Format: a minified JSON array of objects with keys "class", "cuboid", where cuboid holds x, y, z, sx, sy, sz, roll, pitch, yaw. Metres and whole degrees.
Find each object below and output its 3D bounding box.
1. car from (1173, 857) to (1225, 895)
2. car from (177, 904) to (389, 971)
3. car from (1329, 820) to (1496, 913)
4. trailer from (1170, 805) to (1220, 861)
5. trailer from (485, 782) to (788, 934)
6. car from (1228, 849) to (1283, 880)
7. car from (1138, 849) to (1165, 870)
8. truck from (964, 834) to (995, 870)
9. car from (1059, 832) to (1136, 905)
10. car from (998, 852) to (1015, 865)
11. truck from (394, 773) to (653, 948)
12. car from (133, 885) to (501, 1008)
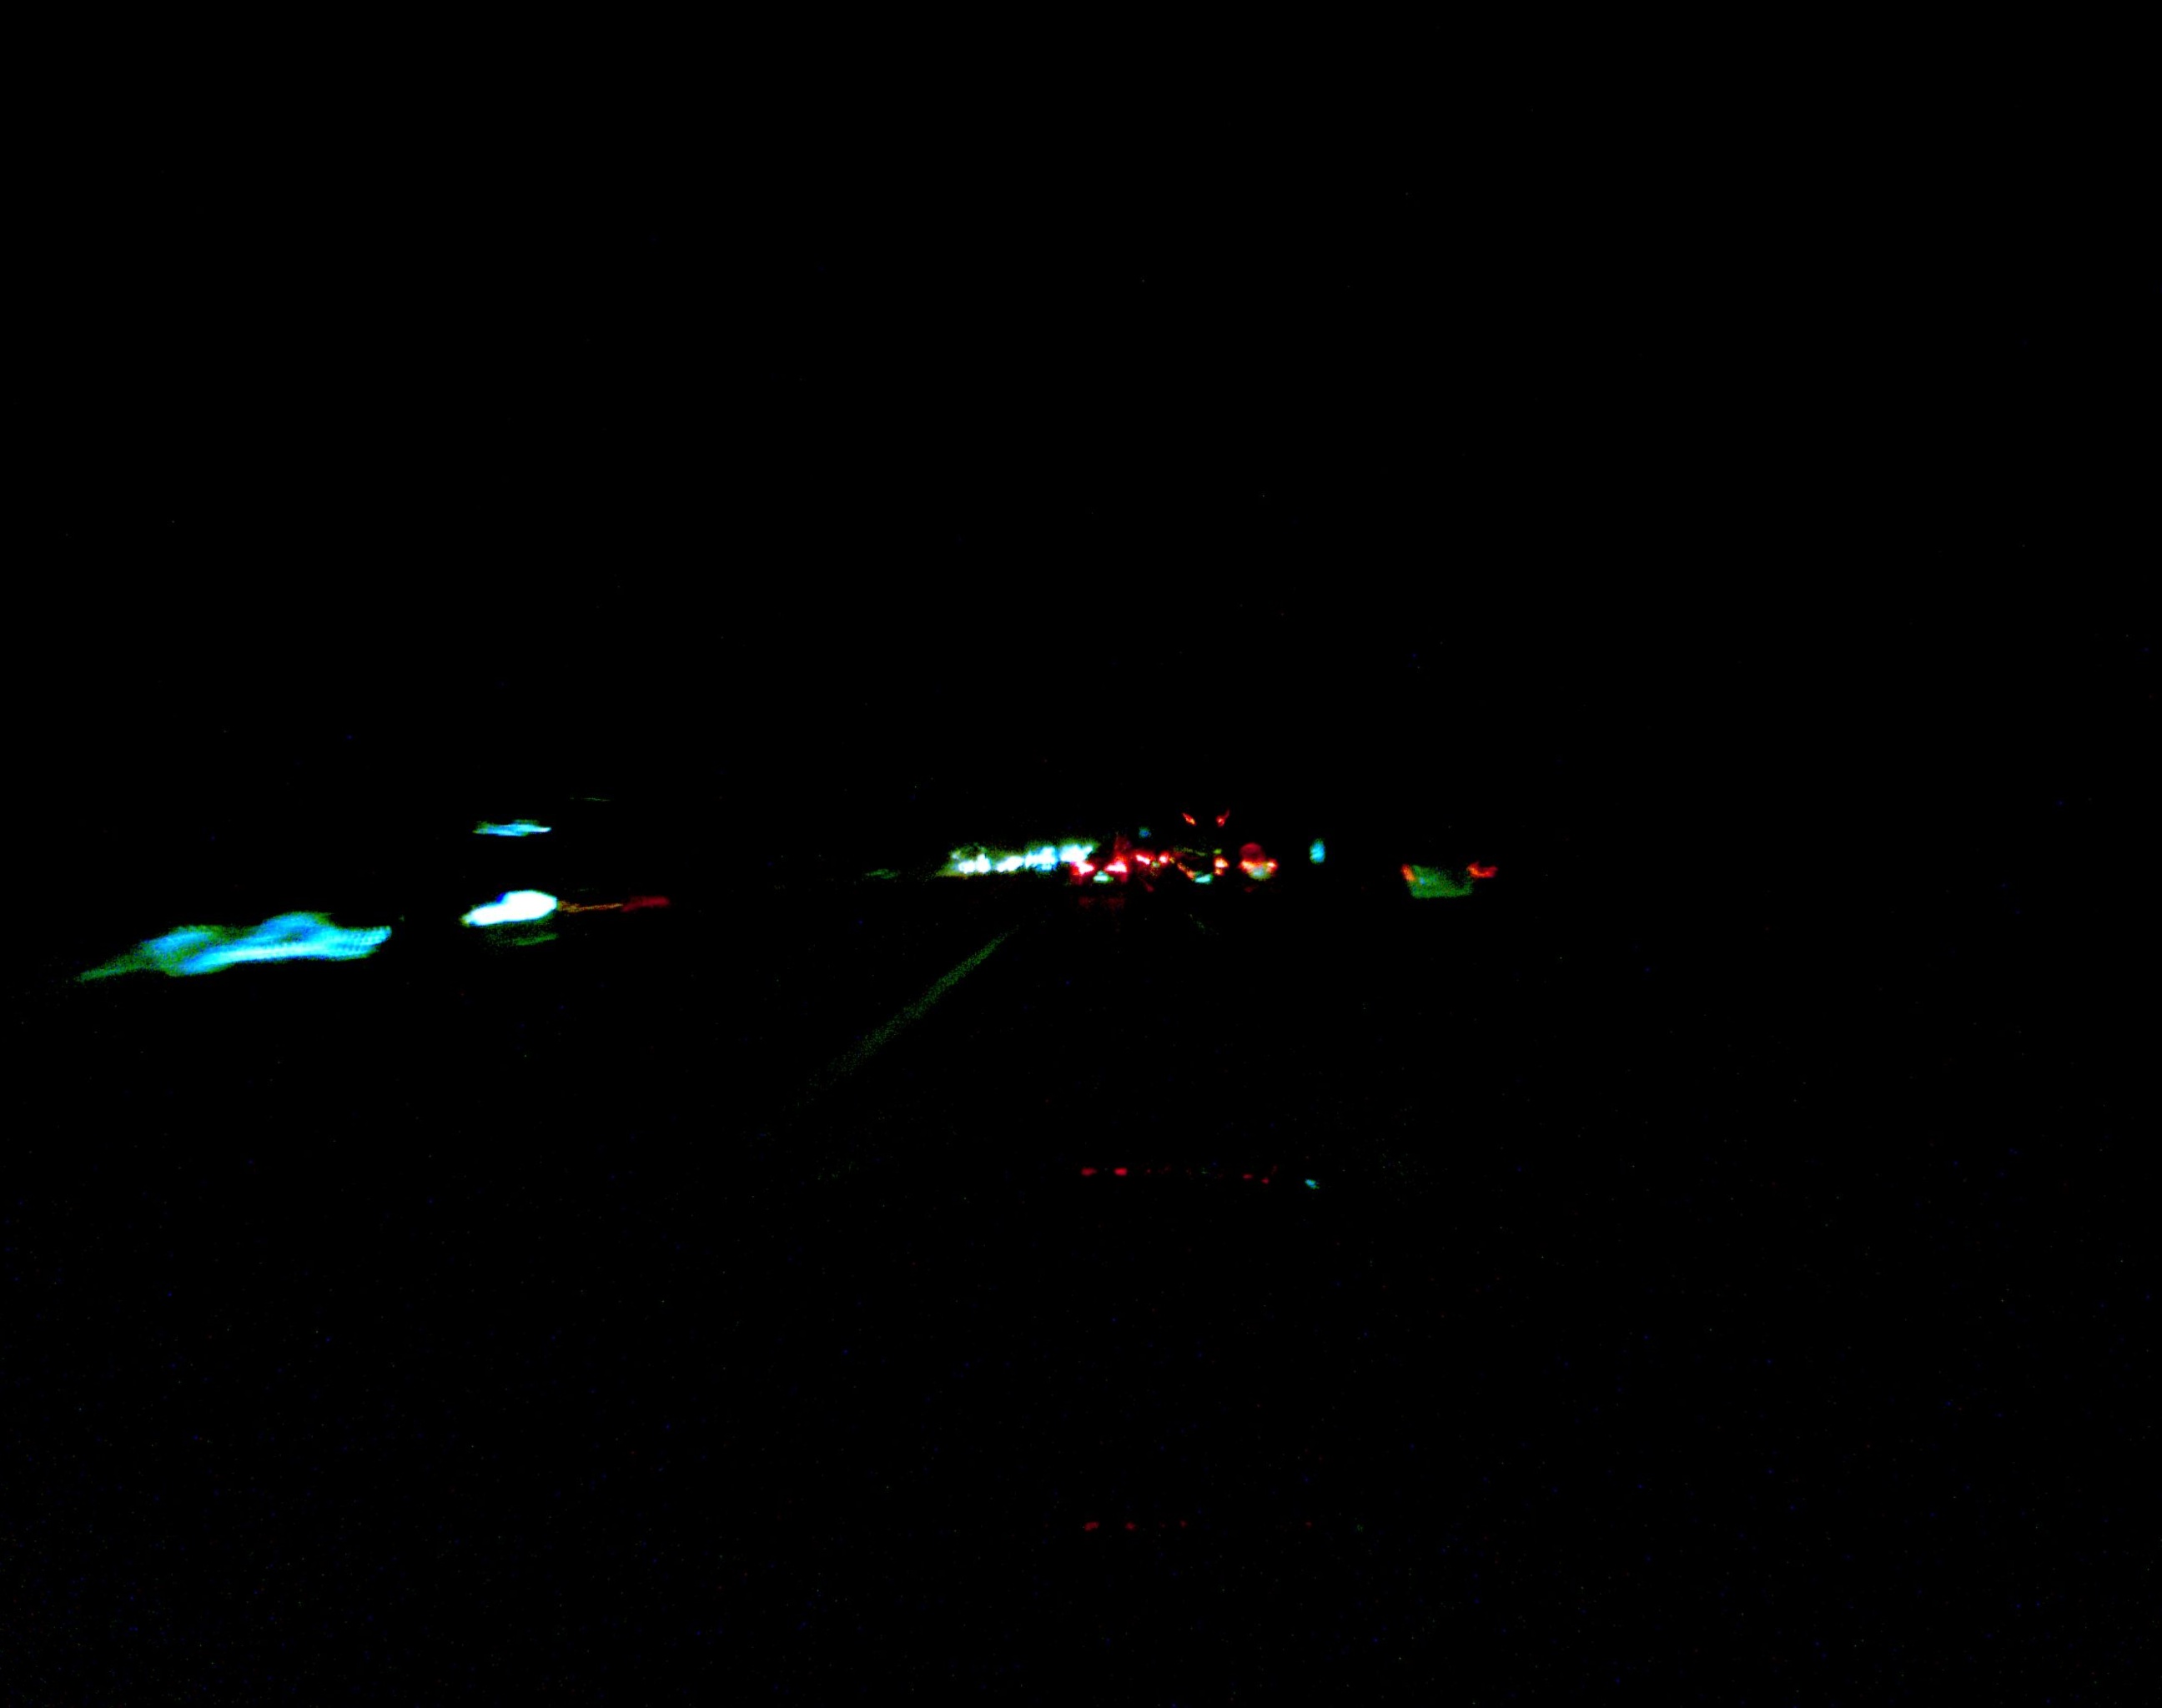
[{"class":"car","cuboid":[4.766,0.851,33.332,1.607,1.412,3.792,-1,0,1]},{"class":"car","cuboid":[-19.863,2.023,20.513,1.604,1.230,3.683,-3,0,2]},{"class":"car","cuboid":[8.261,0.253,20.956,2.039,1.974,5.407,-3,0,0]},{"class":"trailer","cuboid":[9.253,-1.584,67.561,2.793,4.212,12.101,-1,0,2]},{"class":"trailer","cuboid":[-15.602,0.090,31.051,3.036,4.292,14.415,-3,0,2]},{"class":"car","cuboid":[8.966,0.498,42.308,1.887,1.486,4.963,0,0,1]},{"class":"car","cuboid":[5.568,0.411,64.348,1.877,1.588,4.002,-1,0,2]},{"class":"truck","cuboid":[-12.876,-0.315,104.004,2.875,4.334,6.749,-1,1,2]},{"class":"car","cuboid":[0.640,0.495,32.783,2.701,2.534,5.831,-3,0,0]},{"class":"car","cuboid":[-9.884,0.530,108.070,1.672,1.597,4.349,-3,0,1]},{"class":"truck","cuboid":[-15.844,0.152,23.843,3.043,4.293,6.086,-3,0,2]},{"class":"car","cuboid":[-11.804,1.332,13.053,1.986,1.420,4.002,-3,0,2]}]
